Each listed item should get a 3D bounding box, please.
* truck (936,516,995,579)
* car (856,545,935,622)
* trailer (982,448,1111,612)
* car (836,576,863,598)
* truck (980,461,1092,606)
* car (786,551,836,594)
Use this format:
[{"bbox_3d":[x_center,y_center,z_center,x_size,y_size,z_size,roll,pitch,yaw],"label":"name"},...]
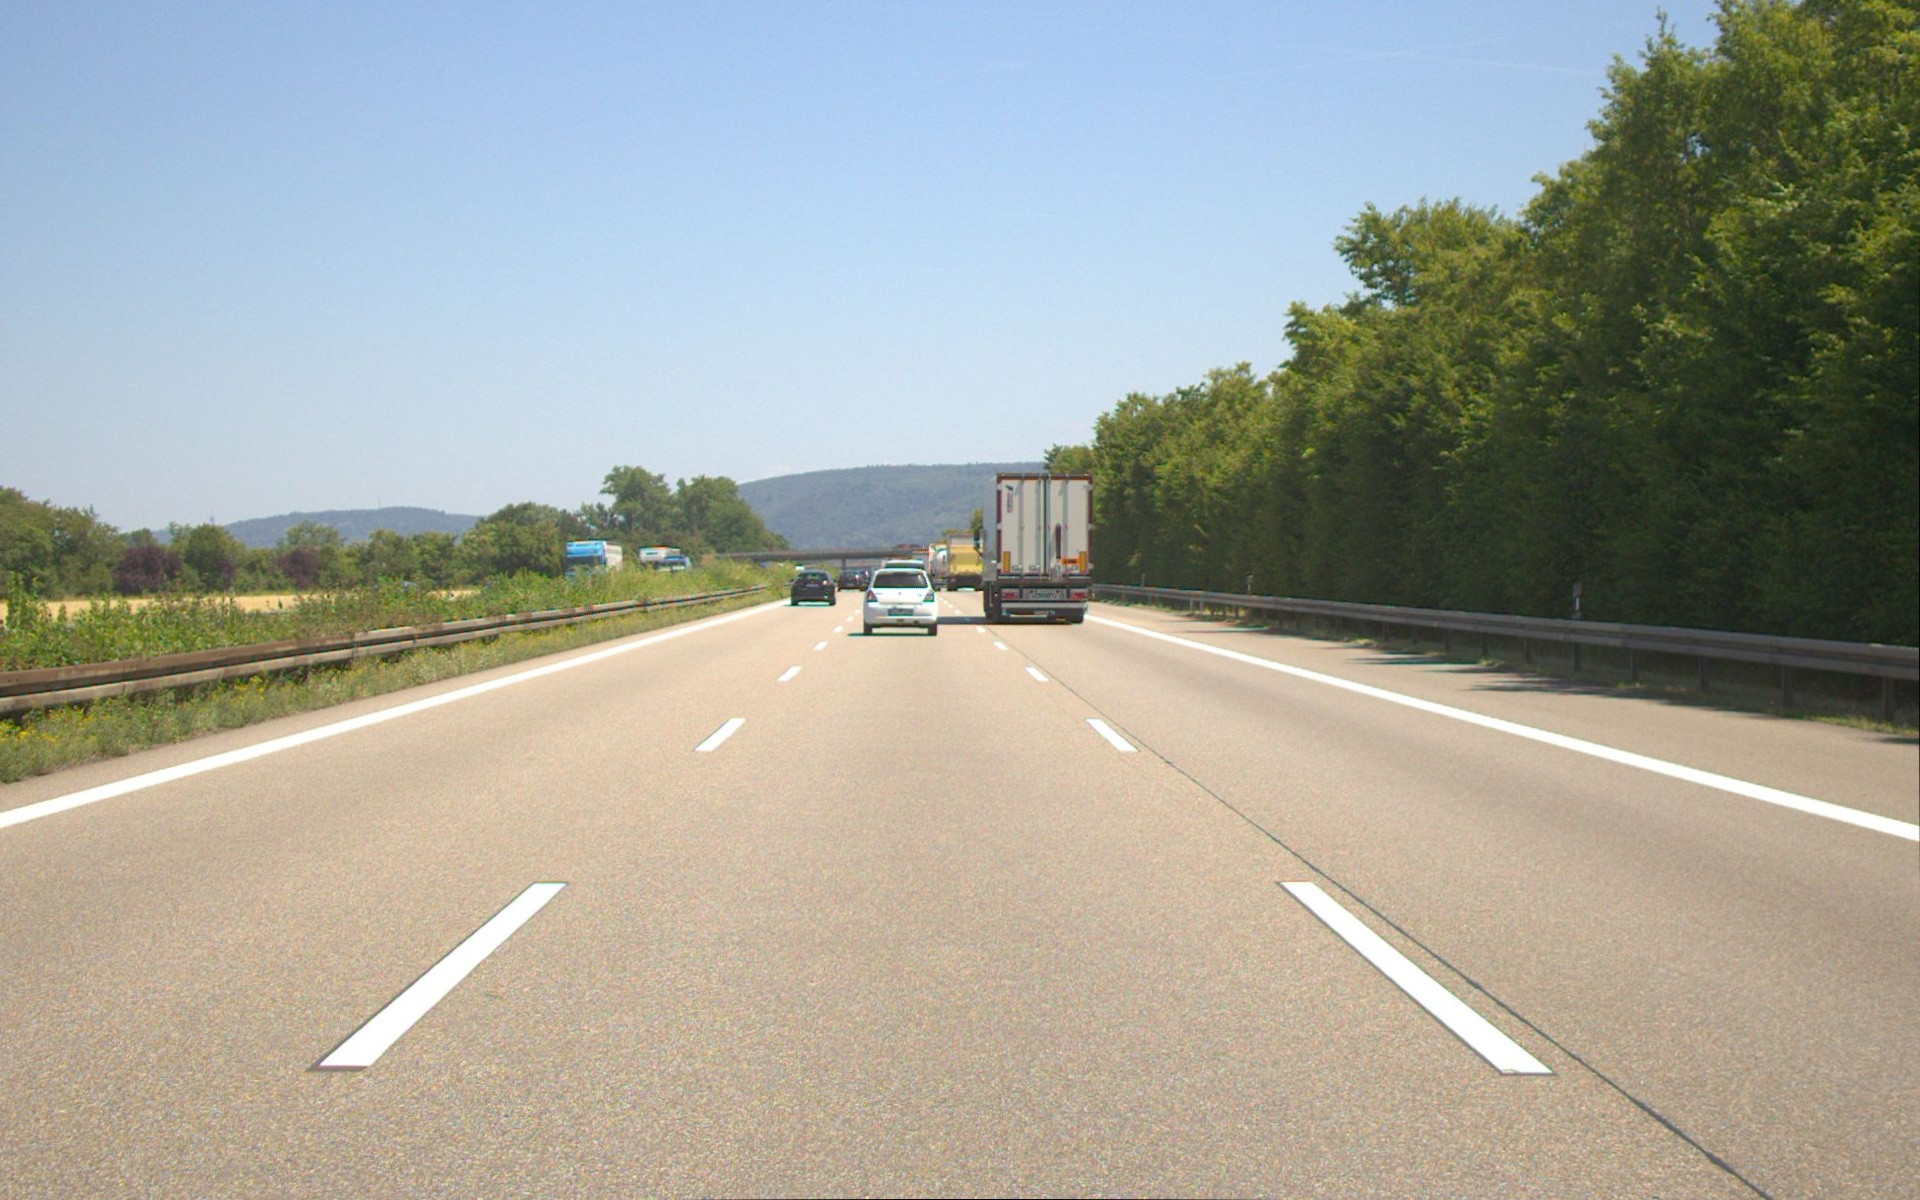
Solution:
[{"bbox_3d":[0.333,-3.754,247.238,3.871,4.330,13.861,1,1,-1],"label":"truck"},{"bbox_3d":[-1.498,-0.396,78.688,1.732,1.678,4.000,-1,1,-2],"label":"car"},{"bbox_3d":[2.352,-1.943,98.669,3.218,4.330,13.629,1,1,0],"label":"trailer"},{"bbox_3d":[-7.627,-0.913,237.467,1.795,1.545,4.000,0,0,-1],"label":"car"},{"bbox_3d":[2.311,-2.036,106.455,3.218,4.330,6.591,1,1,0],"label":"truck"},{"bbox_3d":[-6.109,-1.129,141.203,1.993,1.706,4.000,1,1,-2],"label":"car"}]
